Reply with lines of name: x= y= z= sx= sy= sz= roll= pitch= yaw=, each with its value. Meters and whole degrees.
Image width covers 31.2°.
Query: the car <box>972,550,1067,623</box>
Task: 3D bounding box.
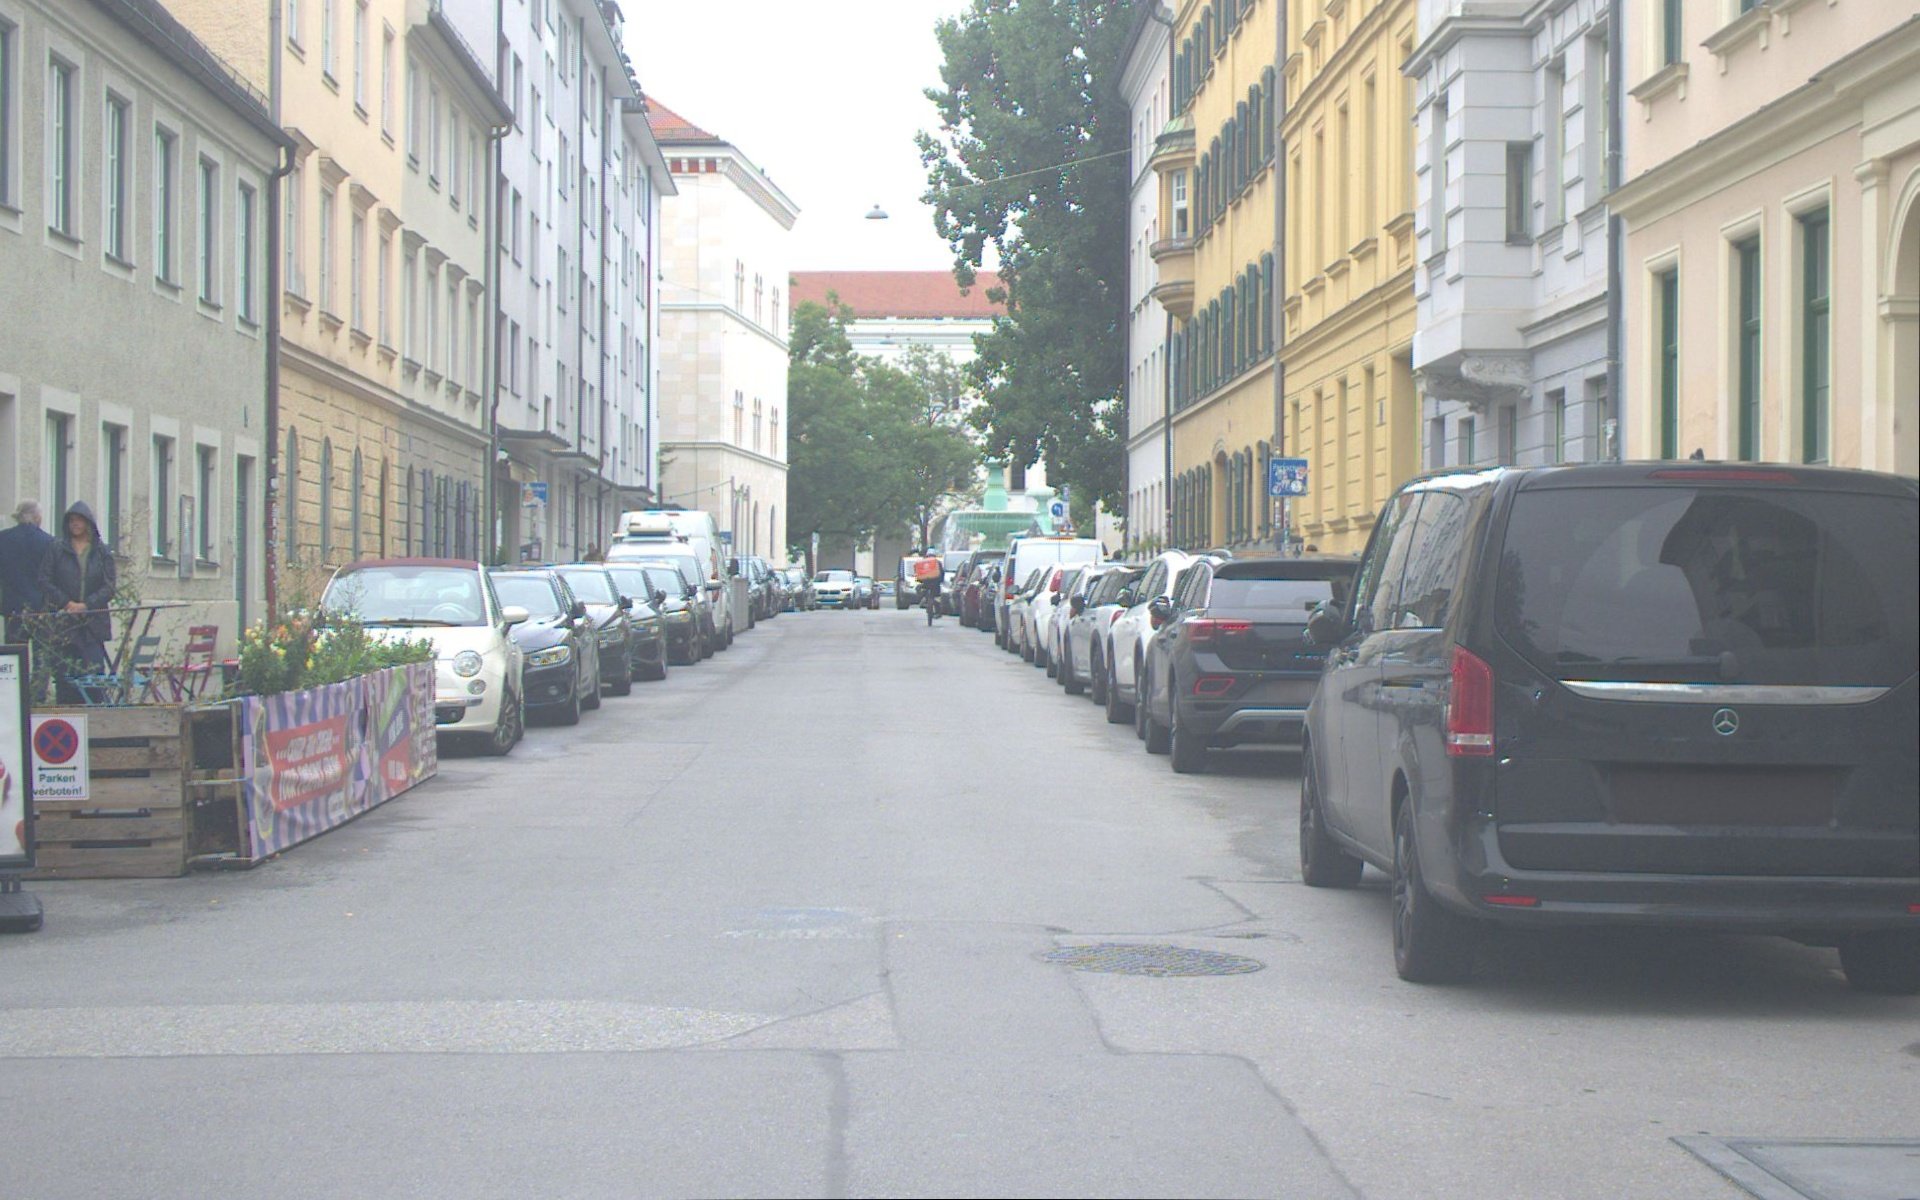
car: x=1.243 y=-0.291 z=73.452 sx=1.811 sy=1.460 sz=4.247 roll=2 pitch=0 yaw=-2

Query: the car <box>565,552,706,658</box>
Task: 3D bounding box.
car: x=-4.492 y=0.050 z=48.084 sx=1.754 sy=1.404 sz=4.104 roll=1 pitch=0 yaw=-3

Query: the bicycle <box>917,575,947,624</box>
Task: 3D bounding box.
bicycle: x=-0.642 y=-0.005 z=78.464 sx=0.675 sy=1.091 sz=1.760 roll=0 pitch=-1 yaw=-1

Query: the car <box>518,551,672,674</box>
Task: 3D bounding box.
car: x=-4.551 y=0.119 z=43.240 sx=1.816 sy=1.436 sz=4.132 roll=-1 pitch=1 yaw=-5

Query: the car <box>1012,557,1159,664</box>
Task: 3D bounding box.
car: x=1.747 y=0.124 z=49.039 sx=1.708 sy=1.449 sz=4.097 roll=1 pitch=0 yaw=-3

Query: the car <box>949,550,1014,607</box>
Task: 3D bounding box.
car: x=0.596 y=-0.625 z=99.643 sx=1.811 sy=1.609 sz=4.156 roll=0 pitch=0 yaw=-1

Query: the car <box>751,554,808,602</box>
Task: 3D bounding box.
car: x=-6.288 y=-0.770 z=119.981 sx=1.706 sy=1.604 sz=3.863 roll=-1 pitch=0 yaw=1

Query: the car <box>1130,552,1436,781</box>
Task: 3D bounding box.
car: x=2.281 y=0.429 z=25.260 sx=1.754 sy=1.516 sz=4.275 roll=1 pitch=0 yaw=-1

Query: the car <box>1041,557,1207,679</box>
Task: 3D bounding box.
car: x=1.957 y=0.188 z=42.278 sx=1.708 sy=1.404 sz=4.815 roll=1 pitch=0 yaw=-1

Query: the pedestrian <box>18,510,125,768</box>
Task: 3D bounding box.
pedestrian: x=-6.226 y=0.275 z=24.125 sx=0.528 sy=1.776 sz=0.877 roll=0 pitch=-1 yaw=-1

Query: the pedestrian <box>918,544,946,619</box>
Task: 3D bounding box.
pedestrian: x=-0.645 y=-0.417 z=78.526 sx=0.642 sy=1.708 sz=0.843 roll=0 pitch=-1 yaw=-1

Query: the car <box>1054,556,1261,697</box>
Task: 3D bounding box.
car: x=2.054 y=0.247 z=36.838 sx=1.708 sy=1.400 sz=4.208 roll=1 pitch=0 yaw=-4

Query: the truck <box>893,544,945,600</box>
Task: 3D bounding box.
truck: x=-1.732 y=-1.149 z=143.858 sx=2.121 sy=2.240 sz=6.185 roll=0 pitch=0 yaw=-1

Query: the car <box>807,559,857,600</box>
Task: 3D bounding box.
car: x=-5.001 y=-0.819 z=134.838 sx=1.706 sy=1.576 sz=3.863 roll=-1 pitch=0 yaw=1

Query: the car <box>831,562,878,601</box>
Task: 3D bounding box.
car: x=-4.294 y=-0.764 z=140.985 sx=1.706 sy=1.576 sz=3.863 roll=-1 pitch=0 yaw=1

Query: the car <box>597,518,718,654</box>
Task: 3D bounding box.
car: x=-4.685 y=-0.234 z=53.137 sx=1.754 sy=1.988 sz=4.626 roll=1 pitch=0 yaw=-5

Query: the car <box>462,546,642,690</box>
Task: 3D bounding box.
car: x=-4.465 y=0.167 z=38.089 sx=1.754 sy=1.491 sz=4.201 roll=1 pitch=0 yaw=-4

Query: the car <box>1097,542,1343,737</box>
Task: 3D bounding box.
car: x=2.229 y=0.305 z=30.508 sx=1.743 sy=1.578 sz=4.467 roll=1 pitch=0 yaw=-1

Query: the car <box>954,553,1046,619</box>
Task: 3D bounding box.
car: x=0.885 y=-0.323 z=78.730 sx=1.811 sy=1.420 sz=4.247 roll=2 pitch=0 yaw=-3

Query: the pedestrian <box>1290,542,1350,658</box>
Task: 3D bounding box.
pedestrian: x=4.943 y=0.002 z=47.245 sx=0.660 sy=1.566 sz=0.642 roll=-3 pitch=-1 yaw=-2

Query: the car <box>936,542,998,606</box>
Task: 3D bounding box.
car: x=0.194 y=-0.803 z=105.513 sx=1.851 sy=1.913 sz=4.769 roll=0 pitch=0 yaw=-1

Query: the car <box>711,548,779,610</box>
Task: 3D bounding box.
car: x=-5.758 y=-0.574 z=92.306 sx=1.706 sy=1.604 sz=3.863 roll=-1 pitch=0 yaw=-2

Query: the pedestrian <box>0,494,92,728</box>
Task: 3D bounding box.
pedestrian: x=-7.597 y=0.092 z=28.096 sx=0.822 sy=1.891 sz=0.827 roll=0 pitch=-1 yaw=-2

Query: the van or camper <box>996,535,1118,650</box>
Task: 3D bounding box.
van or camper: x=1.620 y=-0.148 z=58.971 sx=1.833 sy=1.865 sz=5.079 roll=1 pitch=1 yaw=-1

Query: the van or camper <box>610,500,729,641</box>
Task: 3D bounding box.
van or camper: x=-4.887 y=-0.501 z=58.375 sx=1.754 sy=2.273 sz=5.274 roll=1 pitch=0 yaw=-2

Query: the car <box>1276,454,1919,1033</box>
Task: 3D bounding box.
car: x=2.522 y=0.431 z=13.825 sx=1.997 sy=1.858 sz=5.253 roll=1 pitch=1 yaw=0

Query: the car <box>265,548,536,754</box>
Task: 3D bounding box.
car: x=-4.314 y=0.352 z=26.957 sx=1.754 sy=1.470 sz=3.714 roll=1 pitch=1 yaw=-4

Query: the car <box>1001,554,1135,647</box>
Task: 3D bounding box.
car: x=1.657 y=-0.018 z=54.054 sx=1.708 sy=1.388 sz=4.207 roll=1 pitch=0 yaw=-3

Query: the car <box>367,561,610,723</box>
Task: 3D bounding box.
car: x=-4.320 y=0.338 z=32.112 sx=1.798 sy=1.335 sz=4.686 roll=1 pitch=1 yaw=-2
